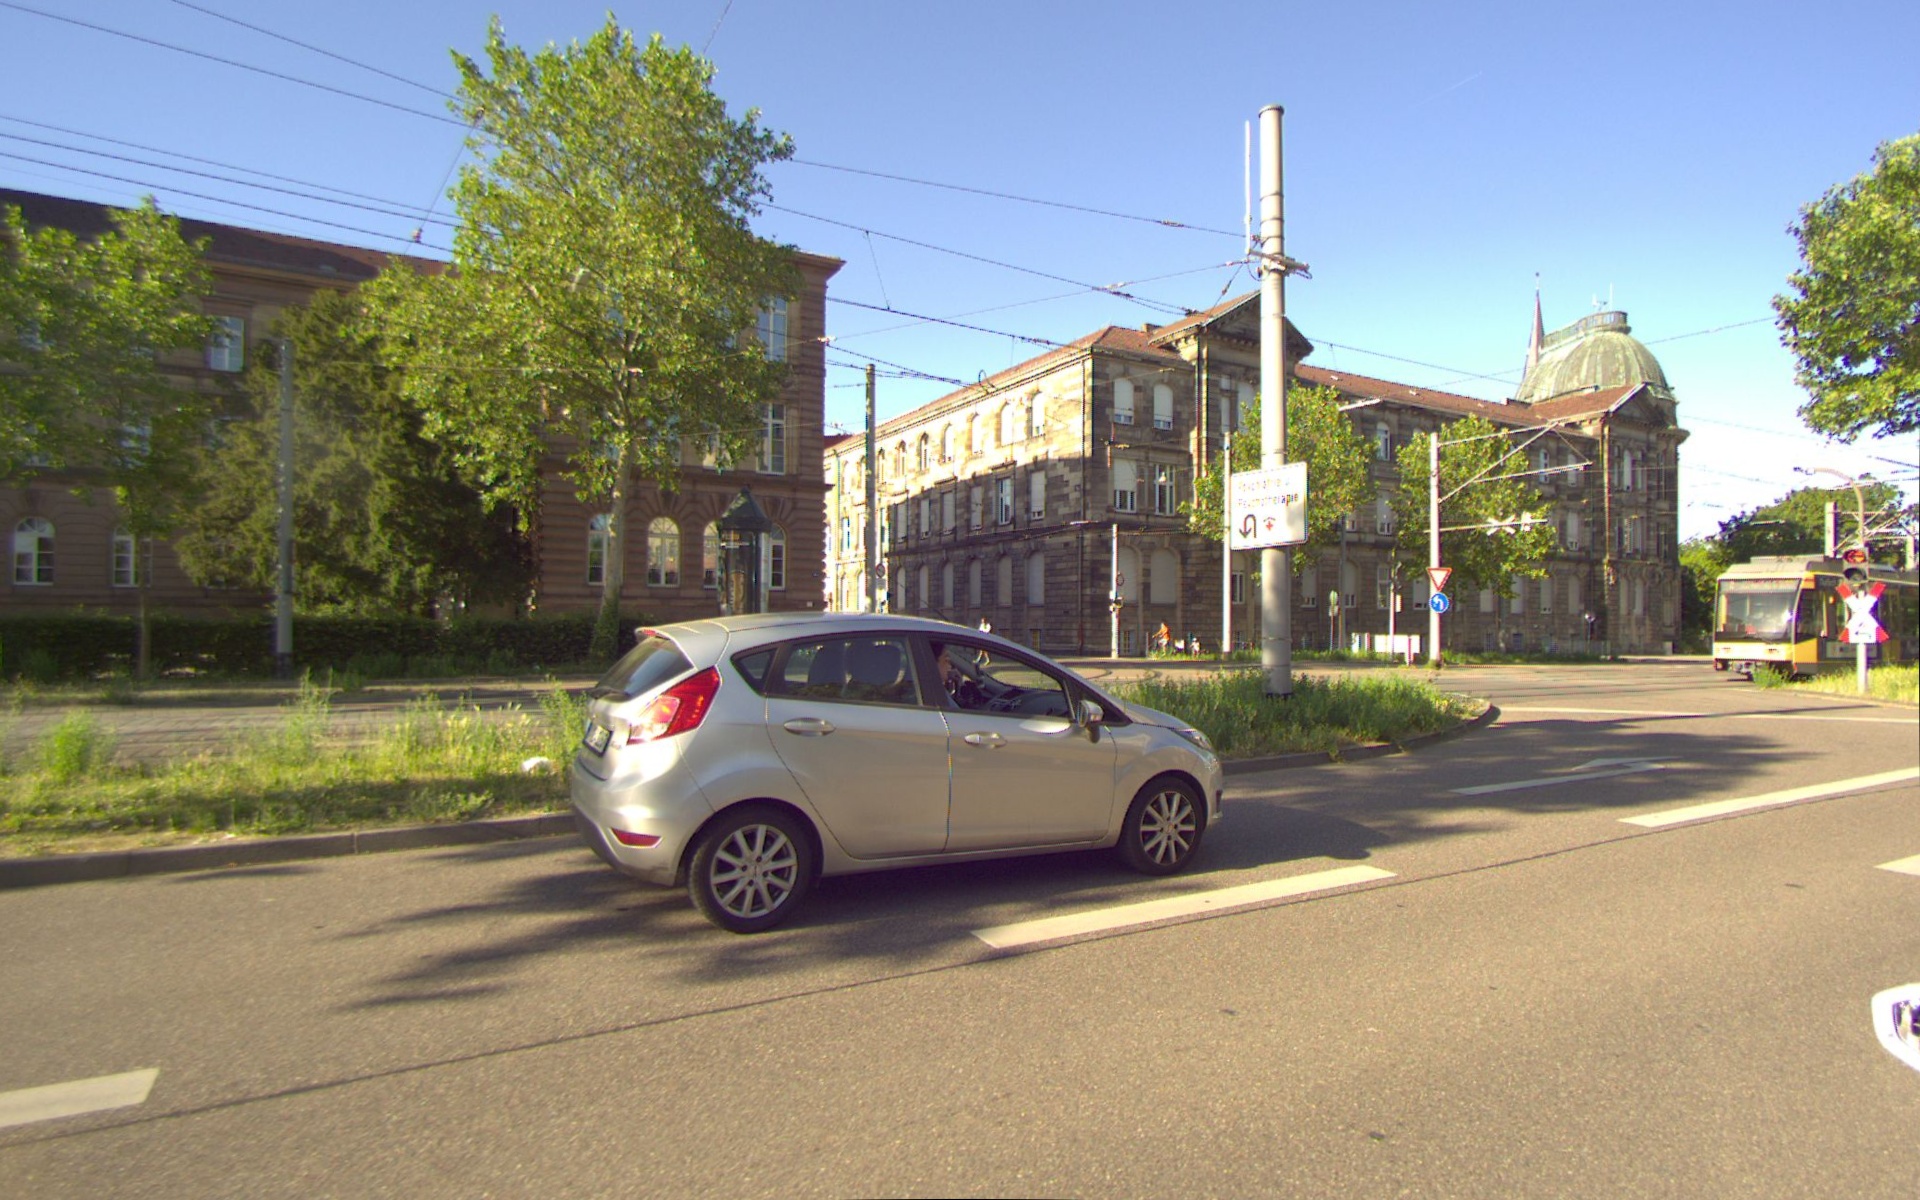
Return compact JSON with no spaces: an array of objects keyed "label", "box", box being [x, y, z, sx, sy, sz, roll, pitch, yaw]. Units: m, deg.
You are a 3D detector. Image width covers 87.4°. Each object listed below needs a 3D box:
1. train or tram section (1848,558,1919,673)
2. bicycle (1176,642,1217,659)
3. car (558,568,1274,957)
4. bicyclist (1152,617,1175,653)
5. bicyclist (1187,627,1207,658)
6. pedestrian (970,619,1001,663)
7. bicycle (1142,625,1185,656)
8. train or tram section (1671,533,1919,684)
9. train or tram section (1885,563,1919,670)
[{"label":"train or tram section","box":[34.158,0.576,35.666,3.824,3.949,2.938,2,0,-33]},{"label":"bicycle","box":[11.542,2.469,49.099,1.864,0.732,0.526,2,0,-2]},{"label":"car","box":[-0.172,0.718,5.852,3.818,1.617,1.654,2,0,-30]},{"label":"bicyclist","box":[9.604,1.647,47.383,0.862,1.646,0.669,1,0,-33]},{"label":"bicyclist","box":[11.586,2.074,49.106,0.716,1.481,0.796,2,0,-4]},{"label":"pedestrian","box":[1.075,1.768,43.097,0.990,1.824,0.859,2,0,-28]},{"label":"bicycle","box":[9.606,1.920,47.392,2.327,1.408,0.521,2,0,-35]},{"label":"train or tram section","box":[26.665,0.381,30.751,14.120,3.863,2.911,2,0,-33]},{"label":"train or tram section","box":[40.268,0.779,39.600,10.686,3.949,2.935,2,0,-33]}]
